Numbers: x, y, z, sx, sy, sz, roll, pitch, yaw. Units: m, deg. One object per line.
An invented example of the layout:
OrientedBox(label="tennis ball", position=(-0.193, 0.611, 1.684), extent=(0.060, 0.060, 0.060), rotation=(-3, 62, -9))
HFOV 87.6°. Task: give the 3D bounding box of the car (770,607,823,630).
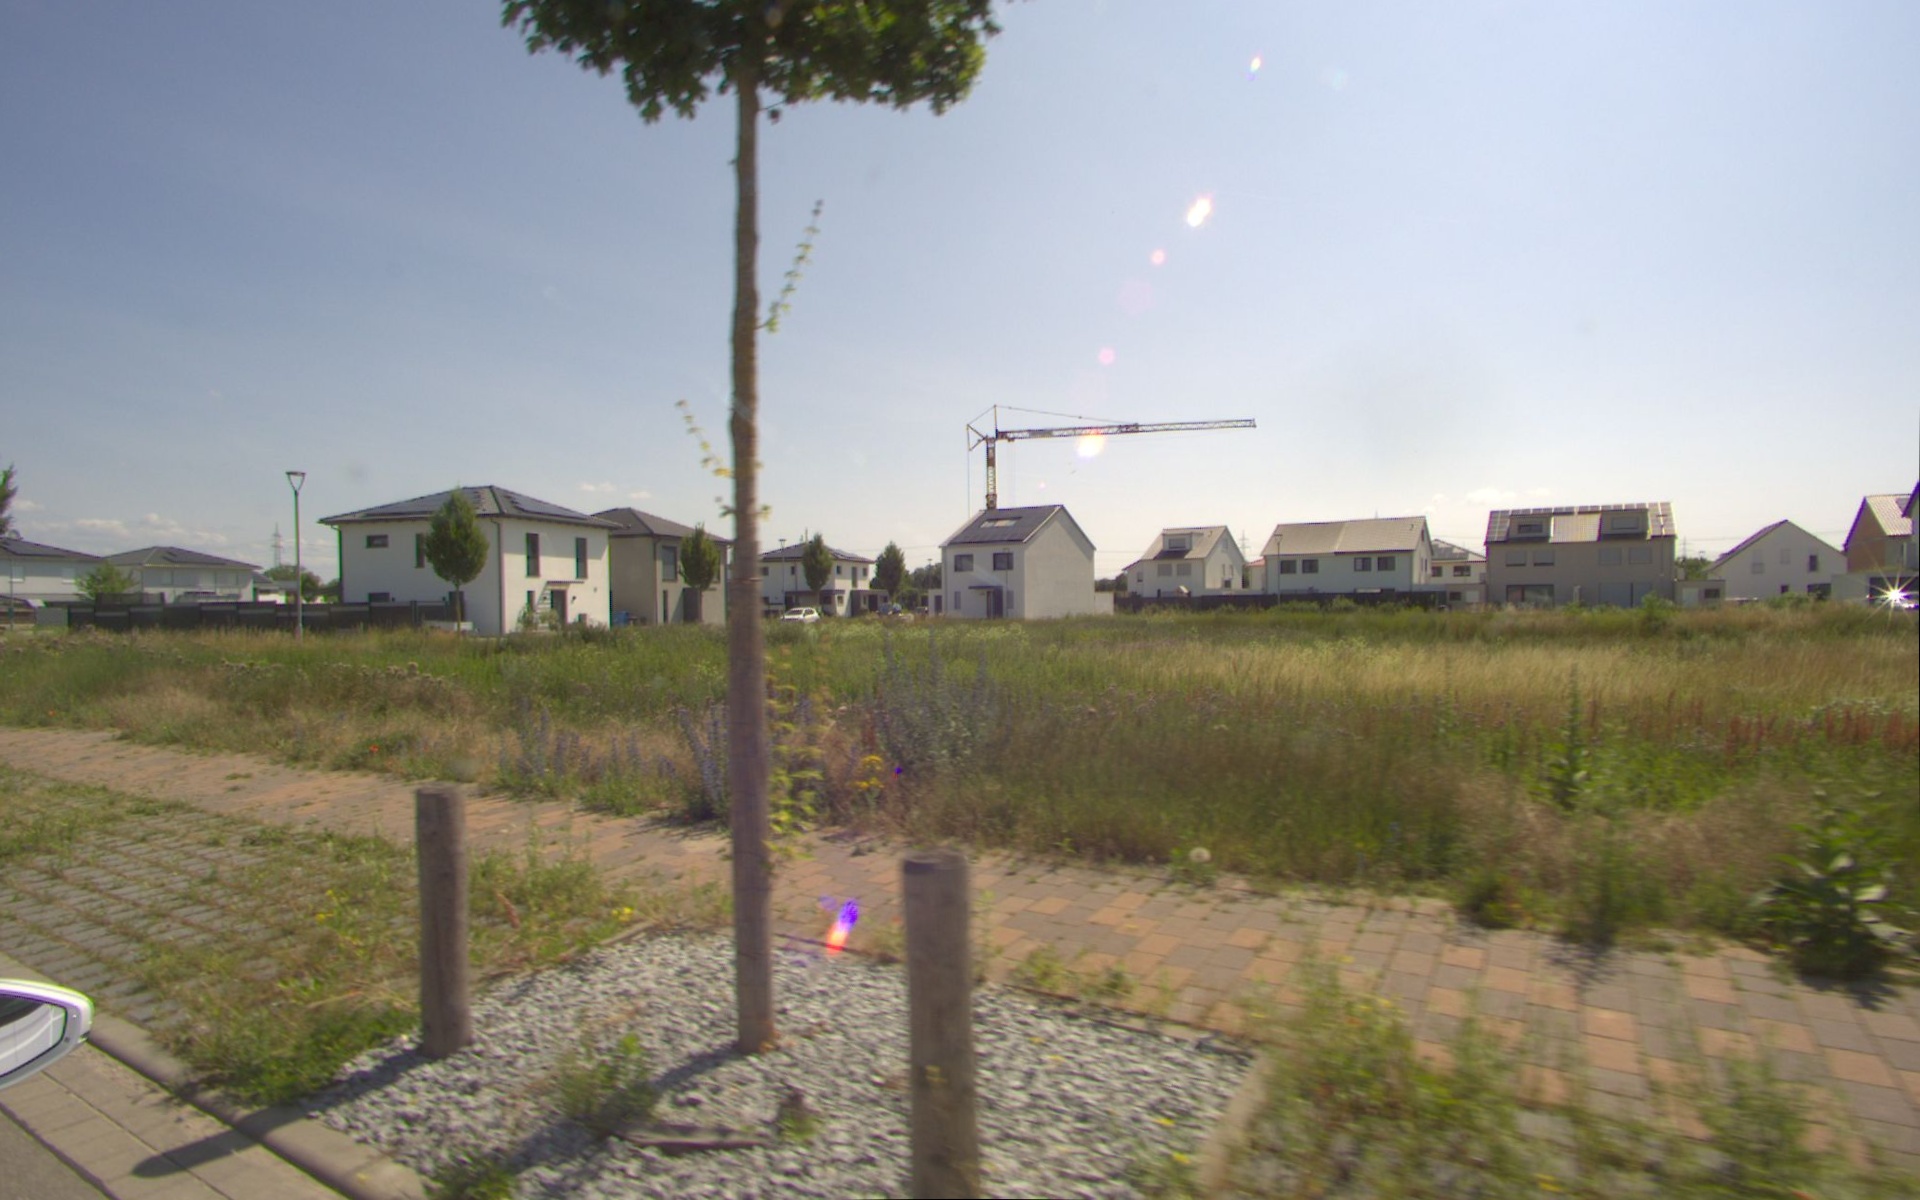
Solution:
OrientedBox(label="car", position=(-10.601, 1.165, 65.292), extent=(1.720, 1.416, 3.993), rotation=(-1, -1, 19))

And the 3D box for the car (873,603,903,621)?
OrientedBox(label="car", position=(-7.375, 1.222, 102.875), extent=(1.794, 1.776, 4.236), rotation=(0, 0, 14))

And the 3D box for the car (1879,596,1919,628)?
OrientedBox(label="car", position=(49.125, 0.588, 51.831), extent=(1.791, 1.595, 3.974), rotation=(0, 0, 36))
